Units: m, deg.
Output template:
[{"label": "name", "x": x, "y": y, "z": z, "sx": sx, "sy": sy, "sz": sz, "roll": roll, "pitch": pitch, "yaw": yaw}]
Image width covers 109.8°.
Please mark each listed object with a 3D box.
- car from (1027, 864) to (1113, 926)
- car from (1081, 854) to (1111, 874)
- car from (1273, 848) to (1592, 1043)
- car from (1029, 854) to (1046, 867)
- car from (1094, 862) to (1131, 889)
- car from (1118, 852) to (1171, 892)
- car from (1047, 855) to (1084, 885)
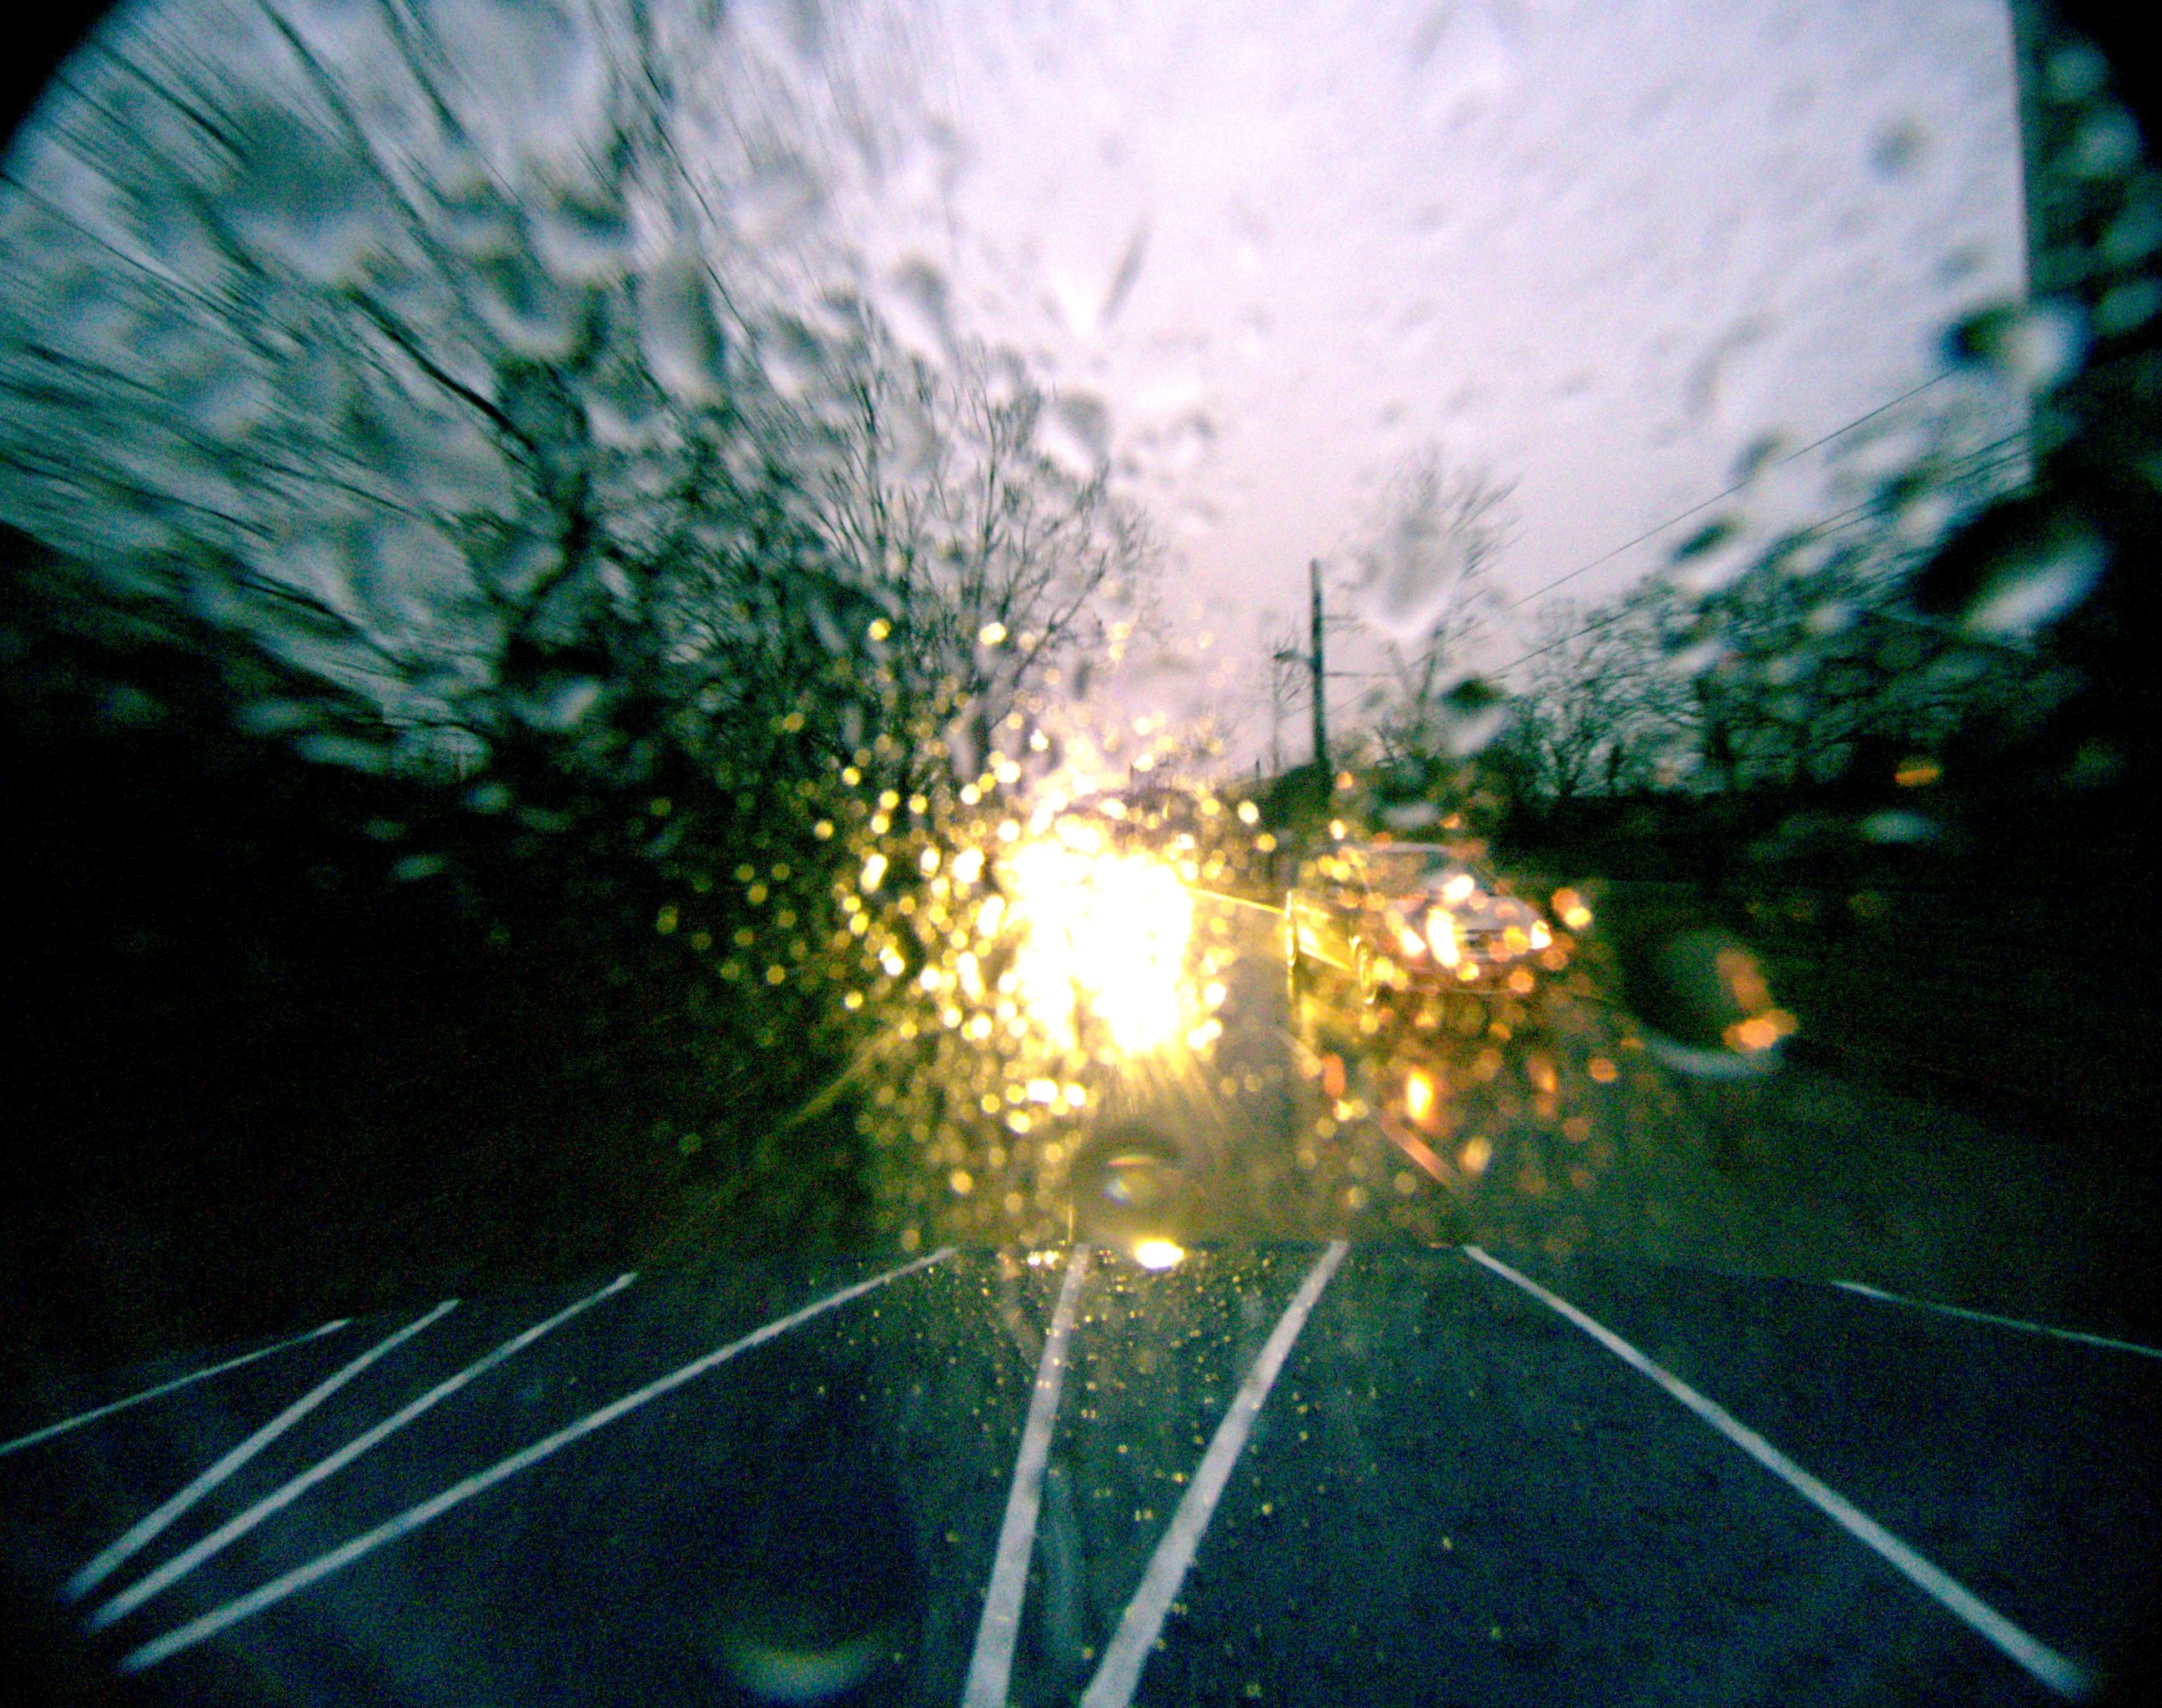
[{"label": "car", "x": -0.320, "y": 0.951, "z": 19.239, "sx": 1.897, "sy": 1.347, "sz": 4.288, "roll": -1, "pitch": 0, "yaw": -2}, {"label": "car", "x": 1.234, "y": 0.825, "z": 63.898, "sx": 1.950, "sy": 1.546, "sz": 4.215, "roll": -3, "pitch": 0, "yaw": -5}, {"label": "car", "x": 3.442, "y": 0.769, "z": 8.326, "sx": 1.669, "sy": 1.566, "sz": 3.922, "roll": -3, "pitch": 0, "yaw": 1}, {"label": "car", "x": -5.684, "y": 0.827, "z": 98.666, "sx": 1.950, "sy": 1.546, "sz": 4.214, "roll": -3, "pitch": 0, "yaw": -7}, {"label": "car", "x": 1.946, "y": 1.307, "z": 48.417, "sx": 1.845, "sy": 1.546, "sz": 4.215, "roll": -3, "pitch": 0, "yaw": -4}, {"label": "car", "x": 2.747, "y": 0.749, "z": 33.618, "sx": 1.924, "sy": 1.546, "sz": 4.217, "roll": -3, "pitch": 0, "yaw": 0}, {"label": "car", "x": -0.937, "y": 0.889, "z": 44.489, "sx": 1.950, "sy": 1.546, "sz": 4.216, "roll": -3, "pitch": 0, "yaw": -2}]
